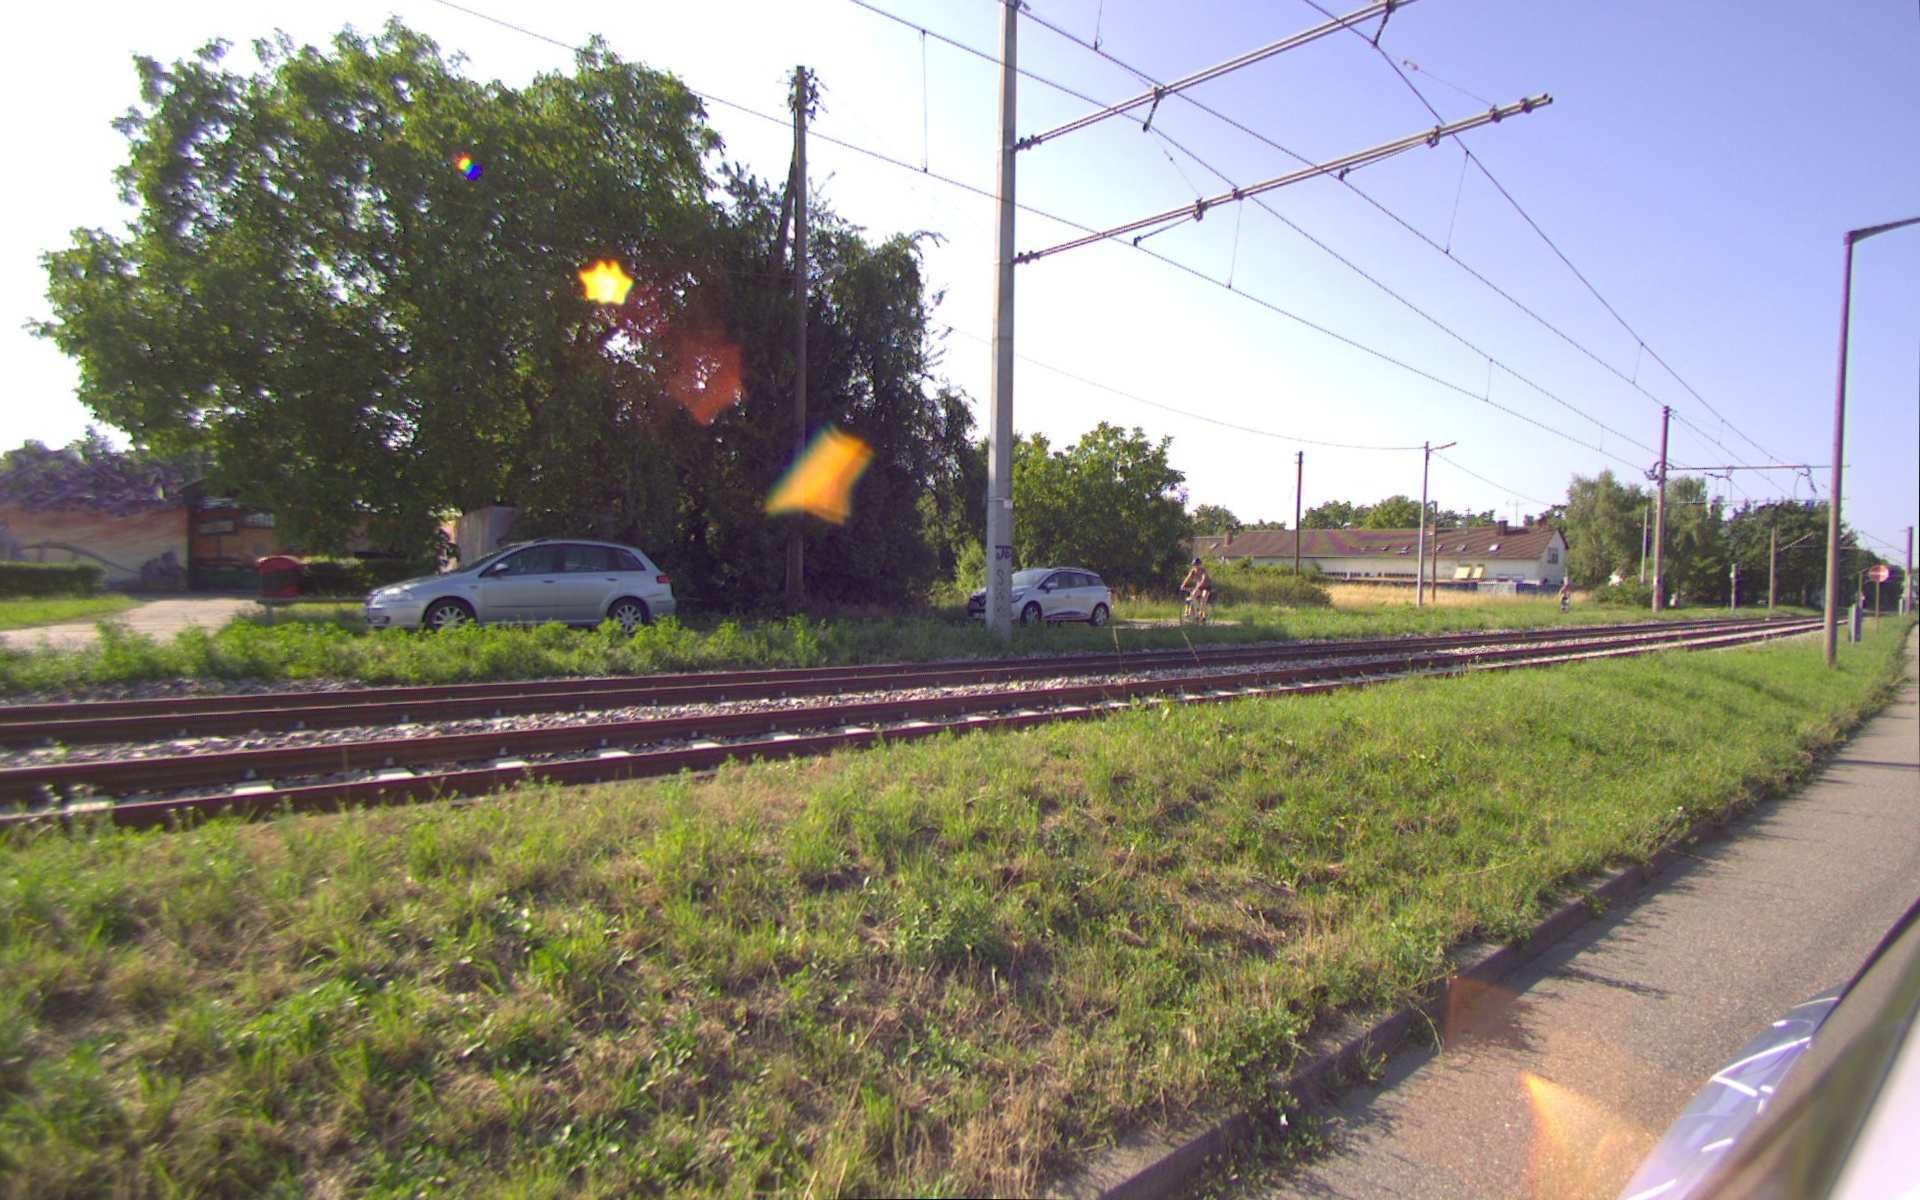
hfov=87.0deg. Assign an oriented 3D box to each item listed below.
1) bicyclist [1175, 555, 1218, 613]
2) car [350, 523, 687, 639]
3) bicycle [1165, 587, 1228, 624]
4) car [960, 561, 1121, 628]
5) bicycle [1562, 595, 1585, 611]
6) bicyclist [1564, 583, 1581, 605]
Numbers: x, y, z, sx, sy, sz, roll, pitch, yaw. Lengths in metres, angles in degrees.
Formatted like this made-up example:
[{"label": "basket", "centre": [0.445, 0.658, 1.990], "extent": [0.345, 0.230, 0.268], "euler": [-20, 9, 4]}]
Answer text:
[{"label": "bicyclist", "centre": [6.069, -0.407, 25.960], "extent": [0.946, 1.440, 0.630], "euler": [1, 0, -42]}, {"label": "car", "centre": [-7.005, -0.273, 16.312], "extent": [4.640, 1.610, 1.913], "euler": [1, 1, -38]}, {"label": "bicycle", "centre": [6.085, 0.147, 25.983], "extent": [1.812, 0.921, 0.643], "euler": [0, 0, -42]}, {"label": "car", "centre": [1.997, -0.127, 24.241], "extent": [4.063, 1.466, 1.535], "euler": [1, 2, -44]}, {"label": "bicycle", "centre": [35.242, 0.169, 58.161], "extent": [1.782, 0.921, 0.643], "euler": [1, 0, -42]}, {"label": "bicyclist", "centre": [35.209, -0.363, 58.138], "extent": [0.778, 1.249, 0.640], "euler": [1, 0, -42]}]
